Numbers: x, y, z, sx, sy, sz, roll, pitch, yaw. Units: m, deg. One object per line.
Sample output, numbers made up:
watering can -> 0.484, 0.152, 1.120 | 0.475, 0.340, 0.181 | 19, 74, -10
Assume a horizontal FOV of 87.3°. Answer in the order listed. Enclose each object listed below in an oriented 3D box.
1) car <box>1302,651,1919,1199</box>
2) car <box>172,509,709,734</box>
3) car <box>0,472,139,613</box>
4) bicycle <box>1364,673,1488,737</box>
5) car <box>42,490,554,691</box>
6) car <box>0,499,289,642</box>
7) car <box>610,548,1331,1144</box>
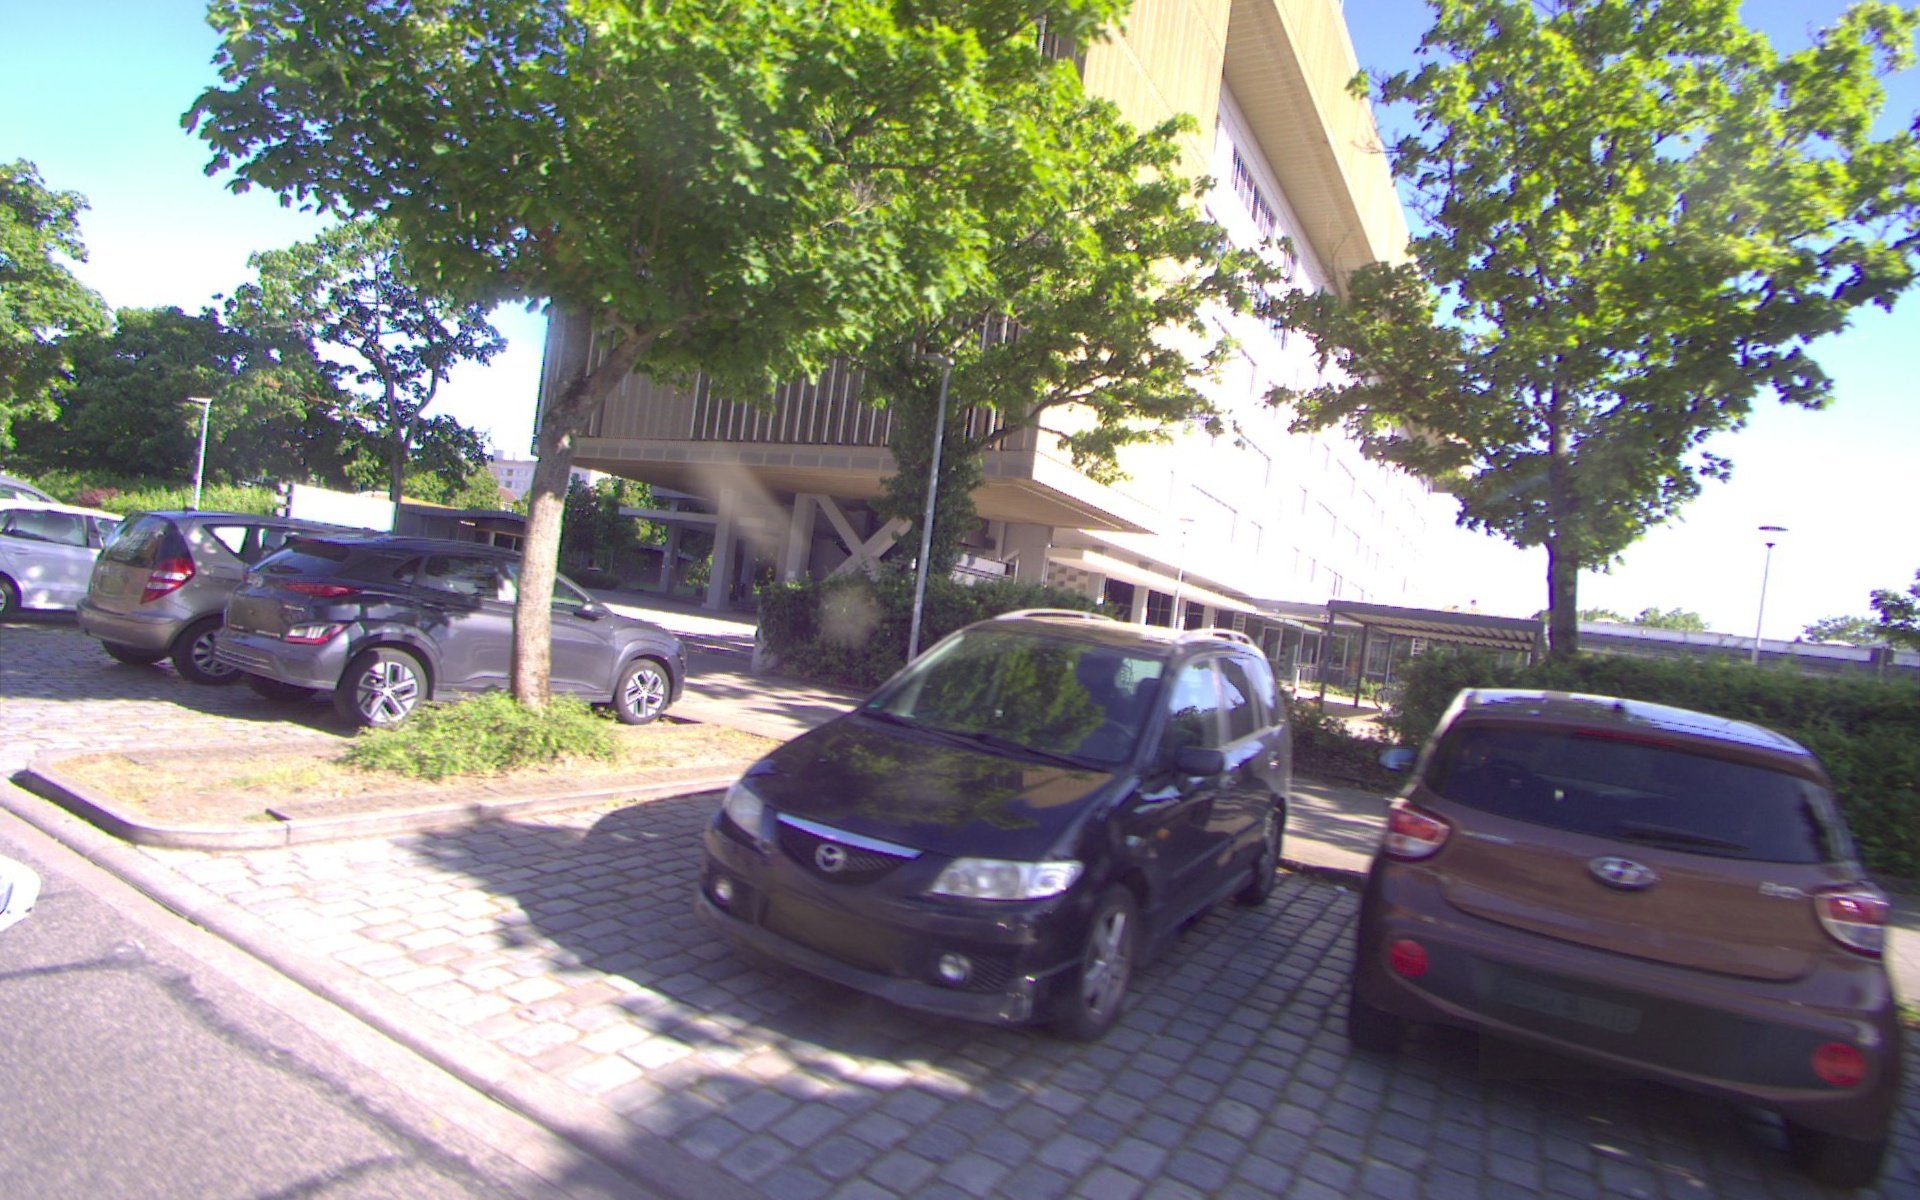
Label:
car -> 2.957, 1.184, 4.927 | 1.624, 1.522, 3.870 | 7, -1, 29
car -> -4.543, 0.280, 9.420 | 1.831, 1.556, 3.993 | 6, -2, 32
car -> -14.622, -1.004, 14.395 | 1.654, 1.902, 3.993 | 8, 0, 32
bicycle -> 11.190, 2.509, 24.212 | 2.525, 1.077, 0.858 | 8, 0, 32
car -> -6.756, 0.014, 10.722 | 1.998, 1.601, 3.993 | 6, -1, 32
car -> -11.087, -0.396, 12.787 | 1.787, 1.476, 3.772 | 6, -1, 31
car -> 0.534, 0.838, 5.136 | 1.711, 1.599, 4.151 | 7, 0, 30
